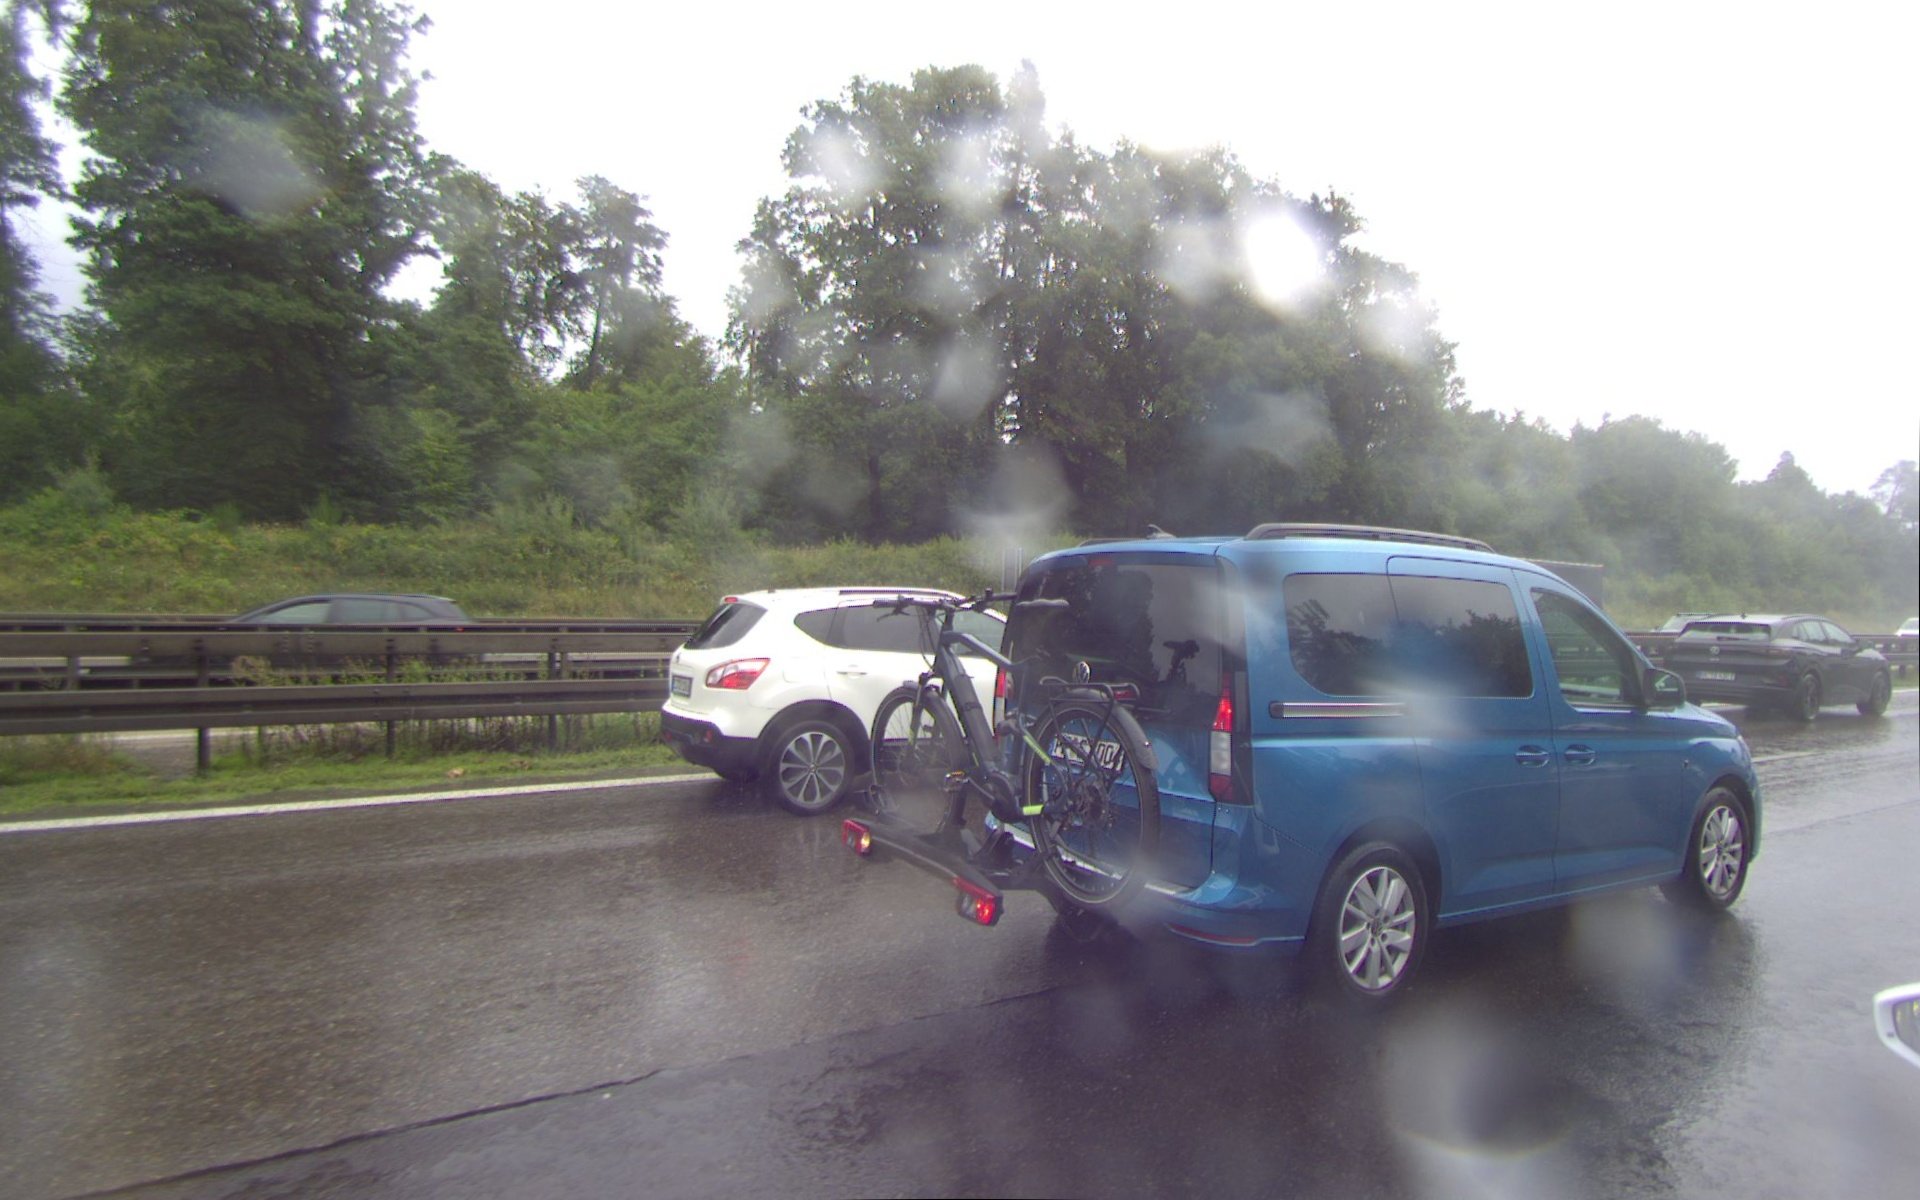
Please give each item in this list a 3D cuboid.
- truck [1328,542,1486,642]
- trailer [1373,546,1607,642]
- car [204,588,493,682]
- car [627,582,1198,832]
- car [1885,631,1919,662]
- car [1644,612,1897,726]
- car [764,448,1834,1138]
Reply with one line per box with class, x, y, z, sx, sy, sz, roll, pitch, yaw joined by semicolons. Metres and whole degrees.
truck;18.696;-0.265;42.000;6.192;3.869;3.005;1;0;-31
trailer;24.271;-0.130;45.509;13.408;3.869;3.008;1;0;-32
car;-9.493;0.512;15.865;3.713;1.322;1.693;1;0;-31
car;-0.316;0.714;8.387;4.413;1.613;1.837;1;0;-30
car;51.546;2.478;53.614;4.654;1.527;1.983;1;0;-32
car;13.293;1.034;16.414;4.415;1.613;1.836;1;0;-31
car;1.767;0.569;4.992;4.952;1.937;2.260;1;0;-28
